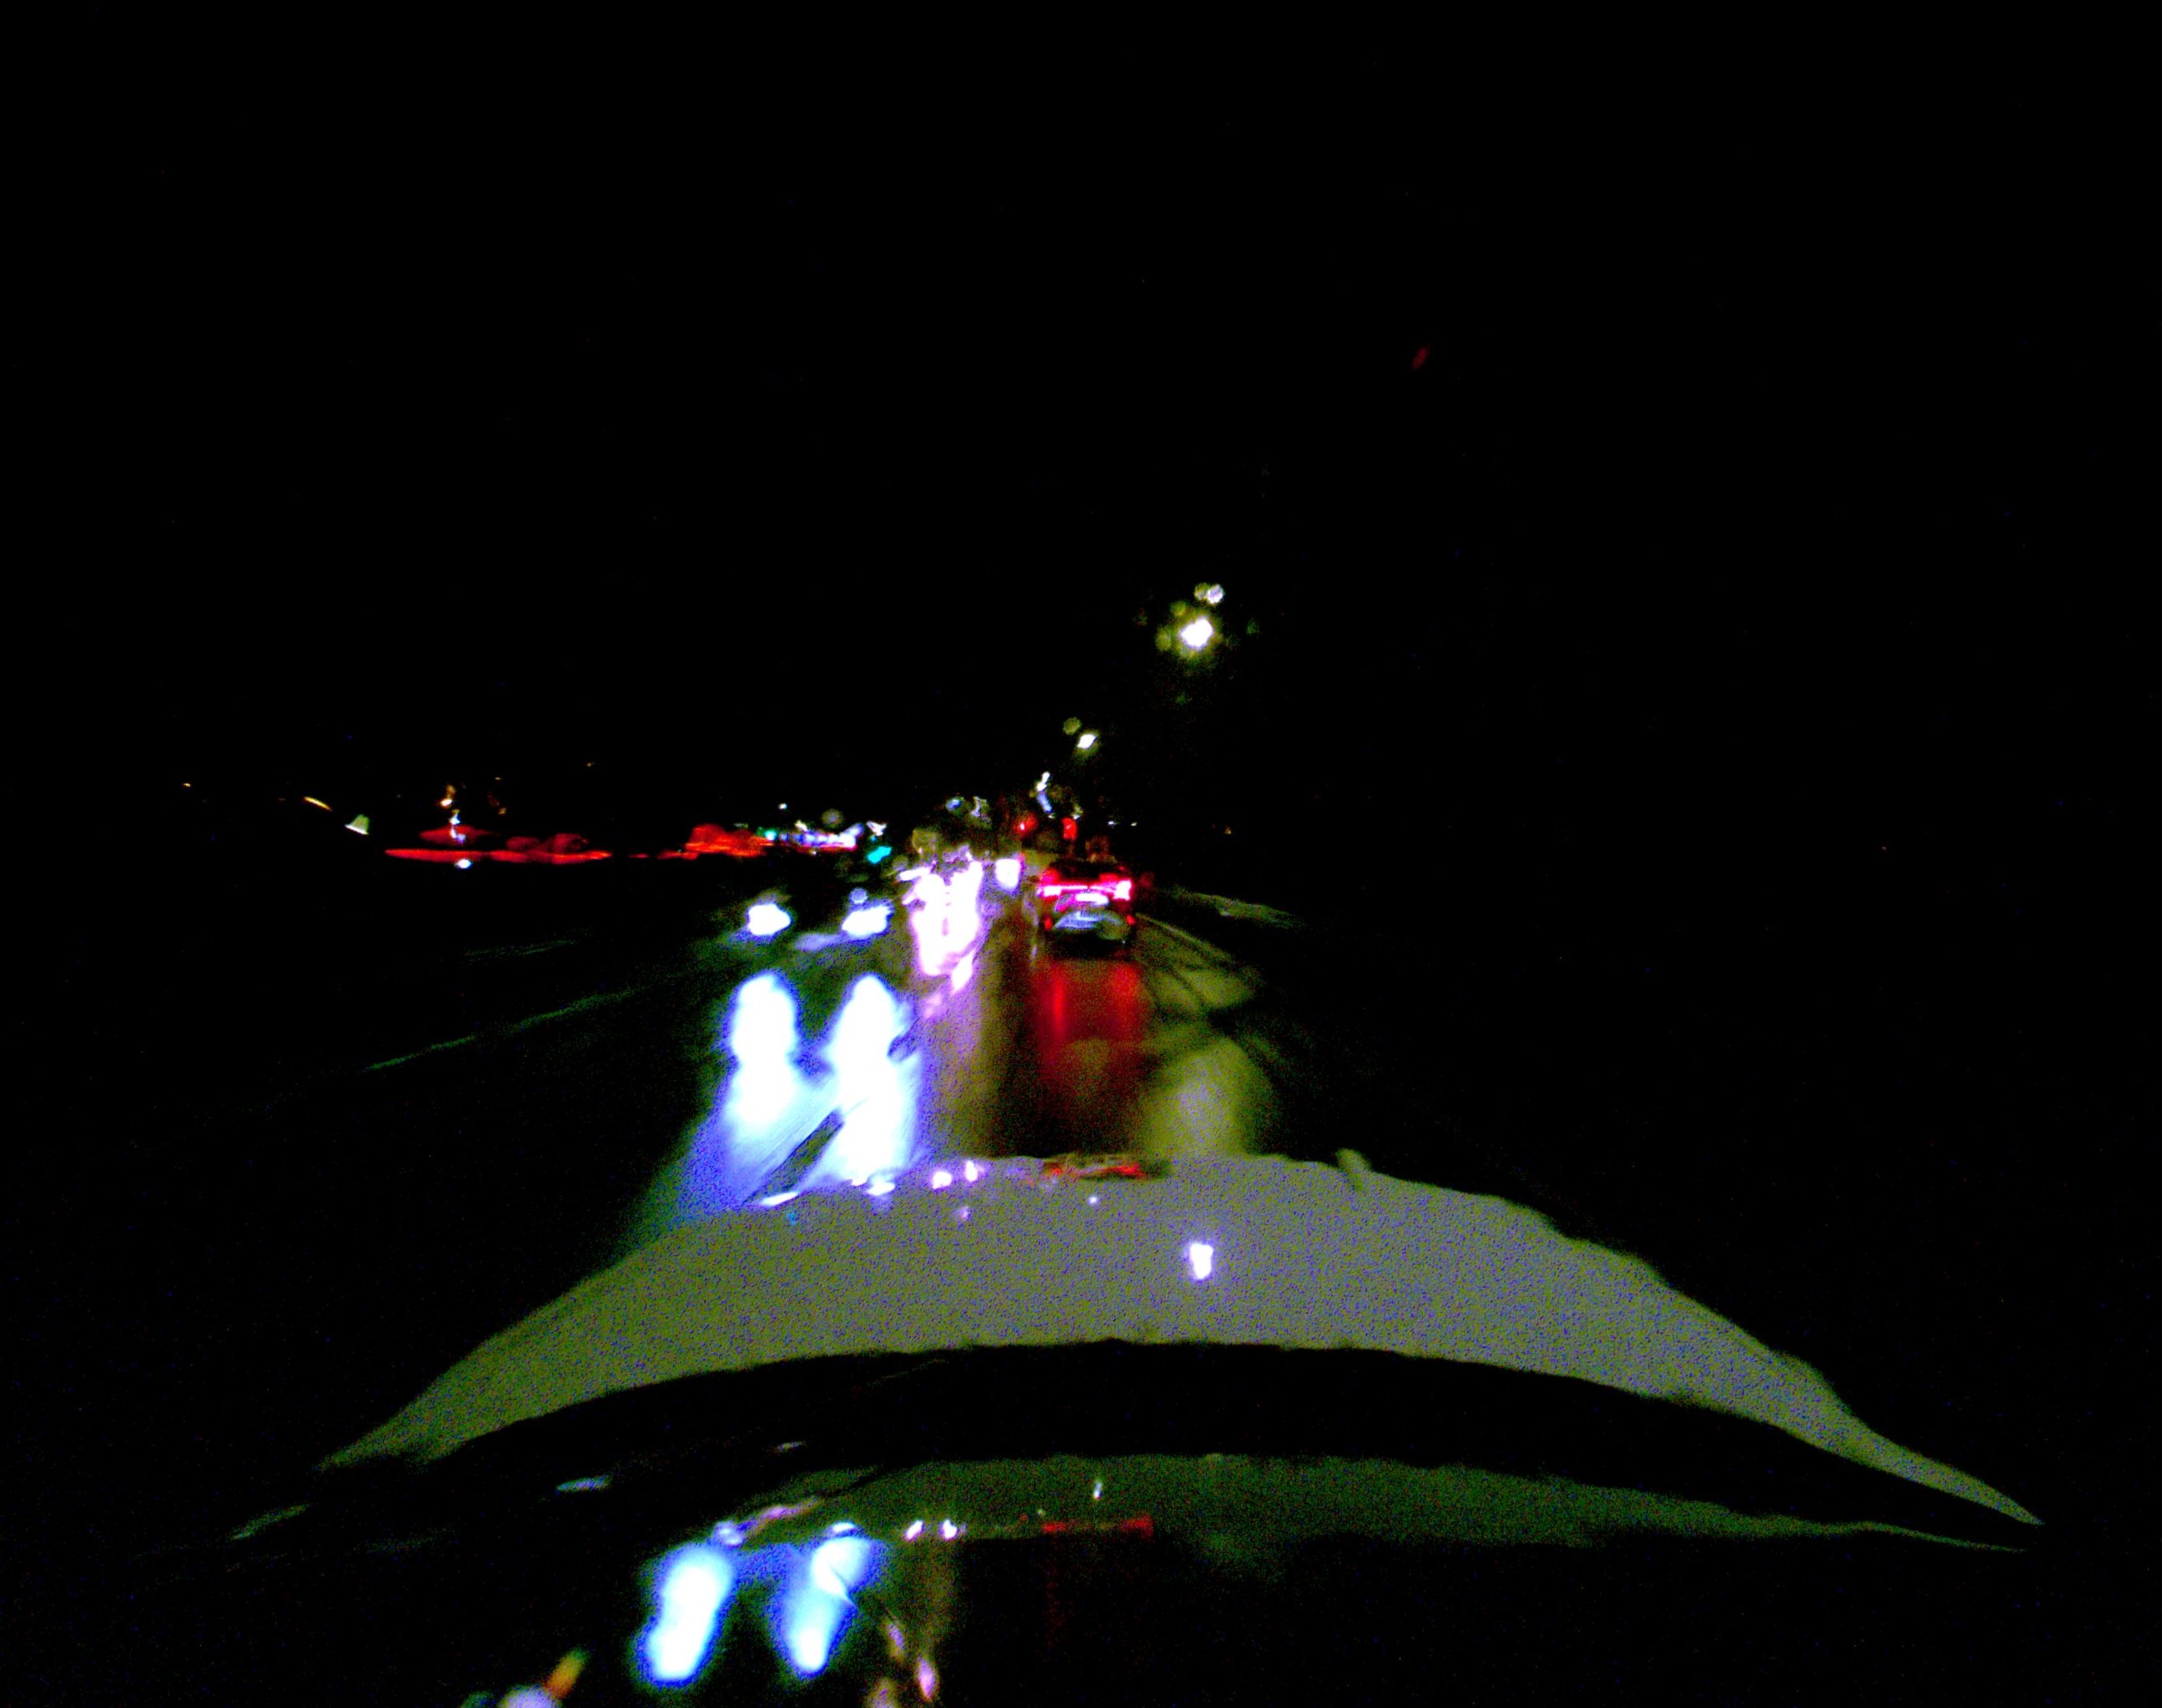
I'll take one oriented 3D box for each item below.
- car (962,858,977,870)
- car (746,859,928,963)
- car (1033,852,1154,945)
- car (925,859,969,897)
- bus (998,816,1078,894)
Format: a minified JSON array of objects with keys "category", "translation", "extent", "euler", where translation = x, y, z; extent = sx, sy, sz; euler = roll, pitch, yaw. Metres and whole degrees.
[{"category":"car","translation":[-14.406,1.269,105.438],"extent":[1.823,1.403,4.023],"euler":[2,0,-9]},{"category":"car","translation":[-3.823,0.827,13.626],"extent":[1.788,1.392,4.587],"euler":[-1,-1,-2]},{"category":"car","translation":[0.258,0.721,15.468],"extent":[1.986,1.524,4.001],"euler":[0,0,1]},{"category":"car","translation":[-5.445,0.933,33.323],"extent":[1.664,1.432,3.808],"euler":[0,0,-8]},{"category":"bus","translation":[-2.232,0.045,38.348],"extent":[3.041,3.212,9.026],"euler":[-1,0,-7]}]
